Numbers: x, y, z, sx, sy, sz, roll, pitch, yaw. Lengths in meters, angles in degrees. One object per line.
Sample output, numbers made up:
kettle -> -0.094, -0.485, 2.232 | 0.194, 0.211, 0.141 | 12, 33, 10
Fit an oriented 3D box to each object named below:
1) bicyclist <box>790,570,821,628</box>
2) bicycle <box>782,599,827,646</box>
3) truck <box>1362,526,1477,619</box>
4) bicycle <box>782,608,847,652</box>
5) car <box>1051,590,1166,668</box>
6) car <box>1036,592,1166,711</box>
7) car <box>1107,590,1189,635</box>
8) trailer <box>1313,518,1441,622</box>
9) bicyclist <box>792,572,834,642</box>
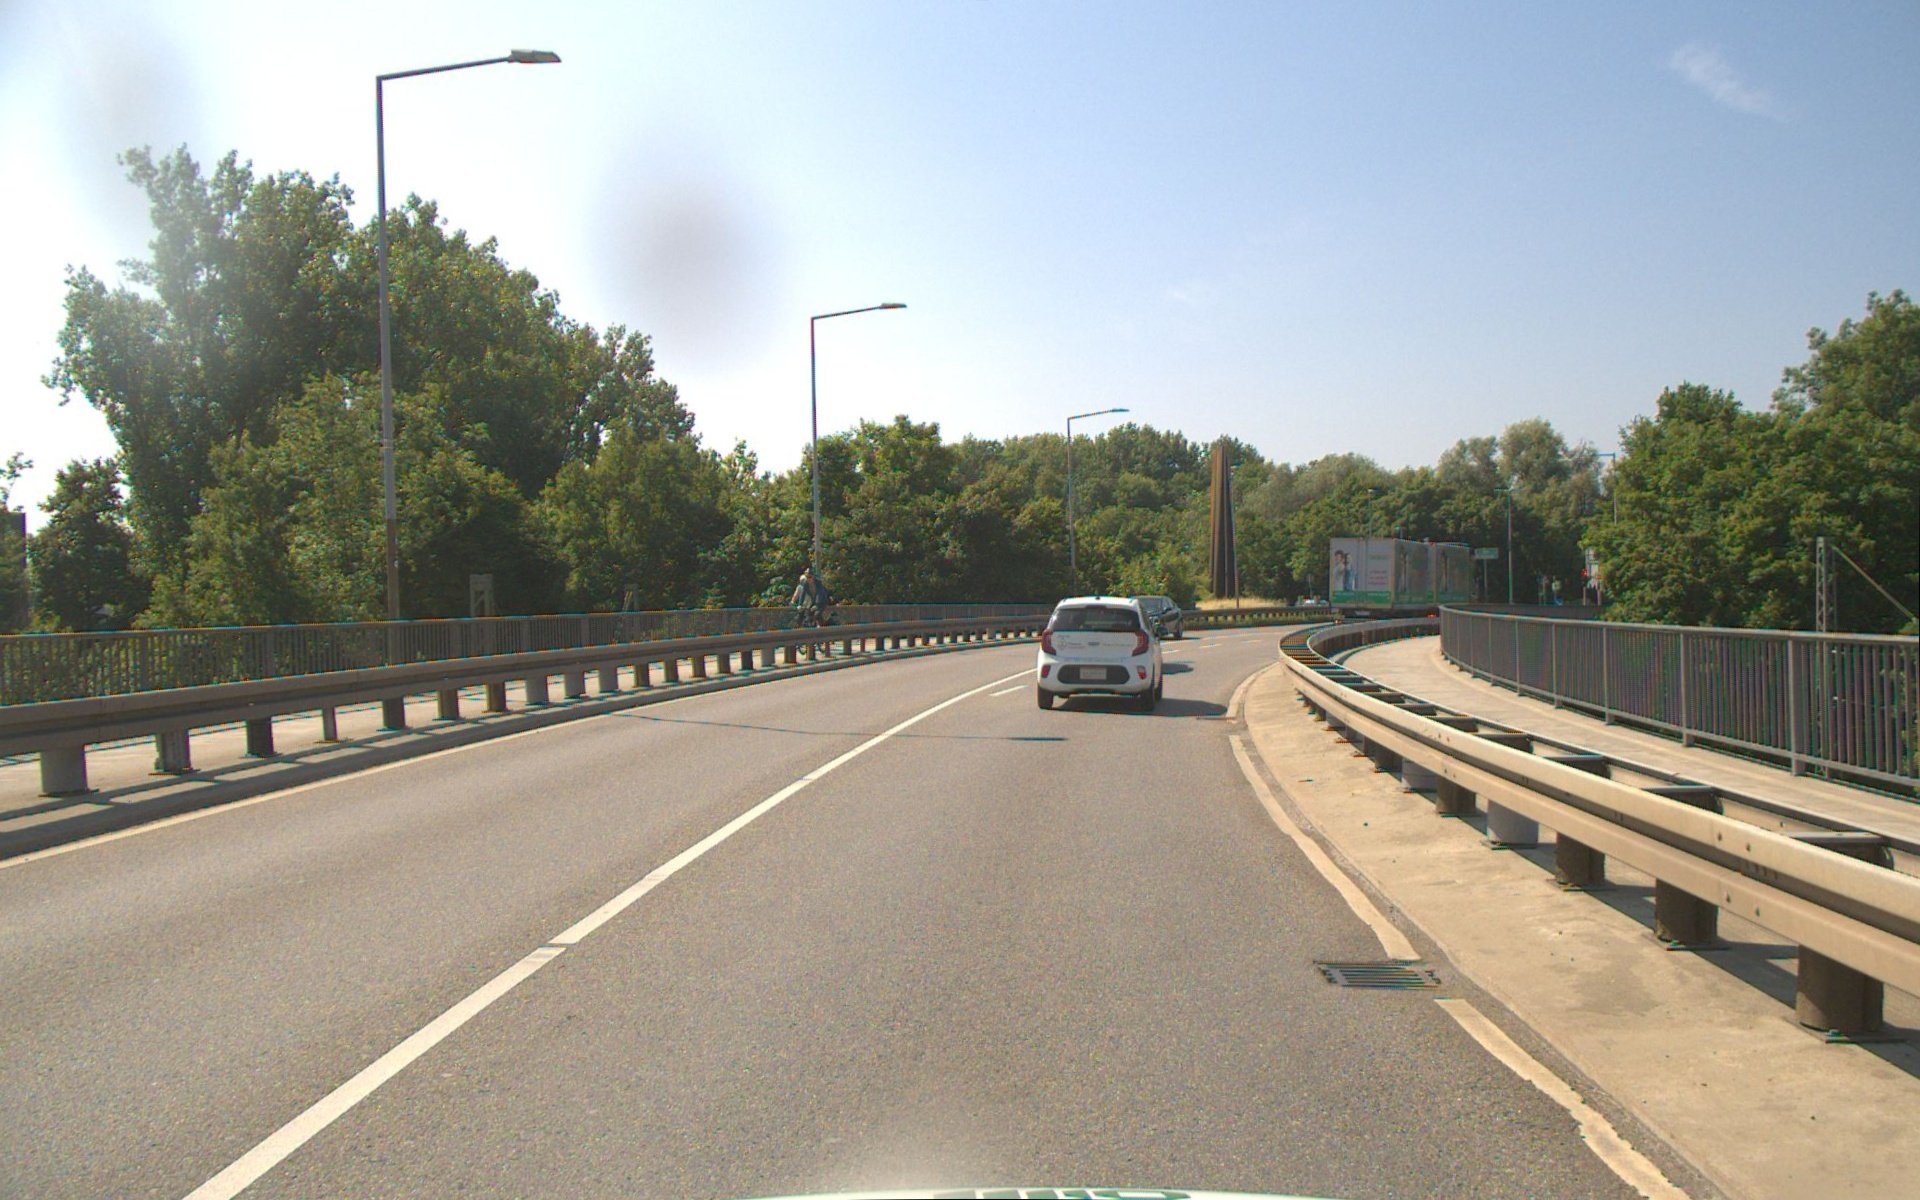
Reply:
bicyclist -> -3.709, -0.018, 39.731 | 0.478, 1.352, 0.947 | 1, -1, 11
bicycle -> -3.723, 0.534, 39.790 | 0.562, 1.065, 1.711 | -2, 1, 12
truck -> 20.561, -1.208, 73.626 | 3.198, 3.823, 8.360 | 3, 1, 27
bicycle -> -3.265, 0.662, 37.271 | 0.908, 0.906, 1.969 | 0, 1, 13
car -> 3.250, 0.558, 35.405 | 1.897, 1.512, 4.904 | 1, 0, 12
car -> 2.034, 0.664, 23.690 | 1.665, 1.520, 4.003 | 2, 0, 5
car -> 6.560, 0.391, 57.303 | 1.780, 1.455, 4.865 | 0, 1, 20
trailer -> 16.837, -1.176, 66.389 | 3.162, 3.823, 7.815 | 3, 1, 27
bicyclist -> -3.295, 0.139, 37.107 | 0.646, 1.522, 1.017 | 1, 2, 14
